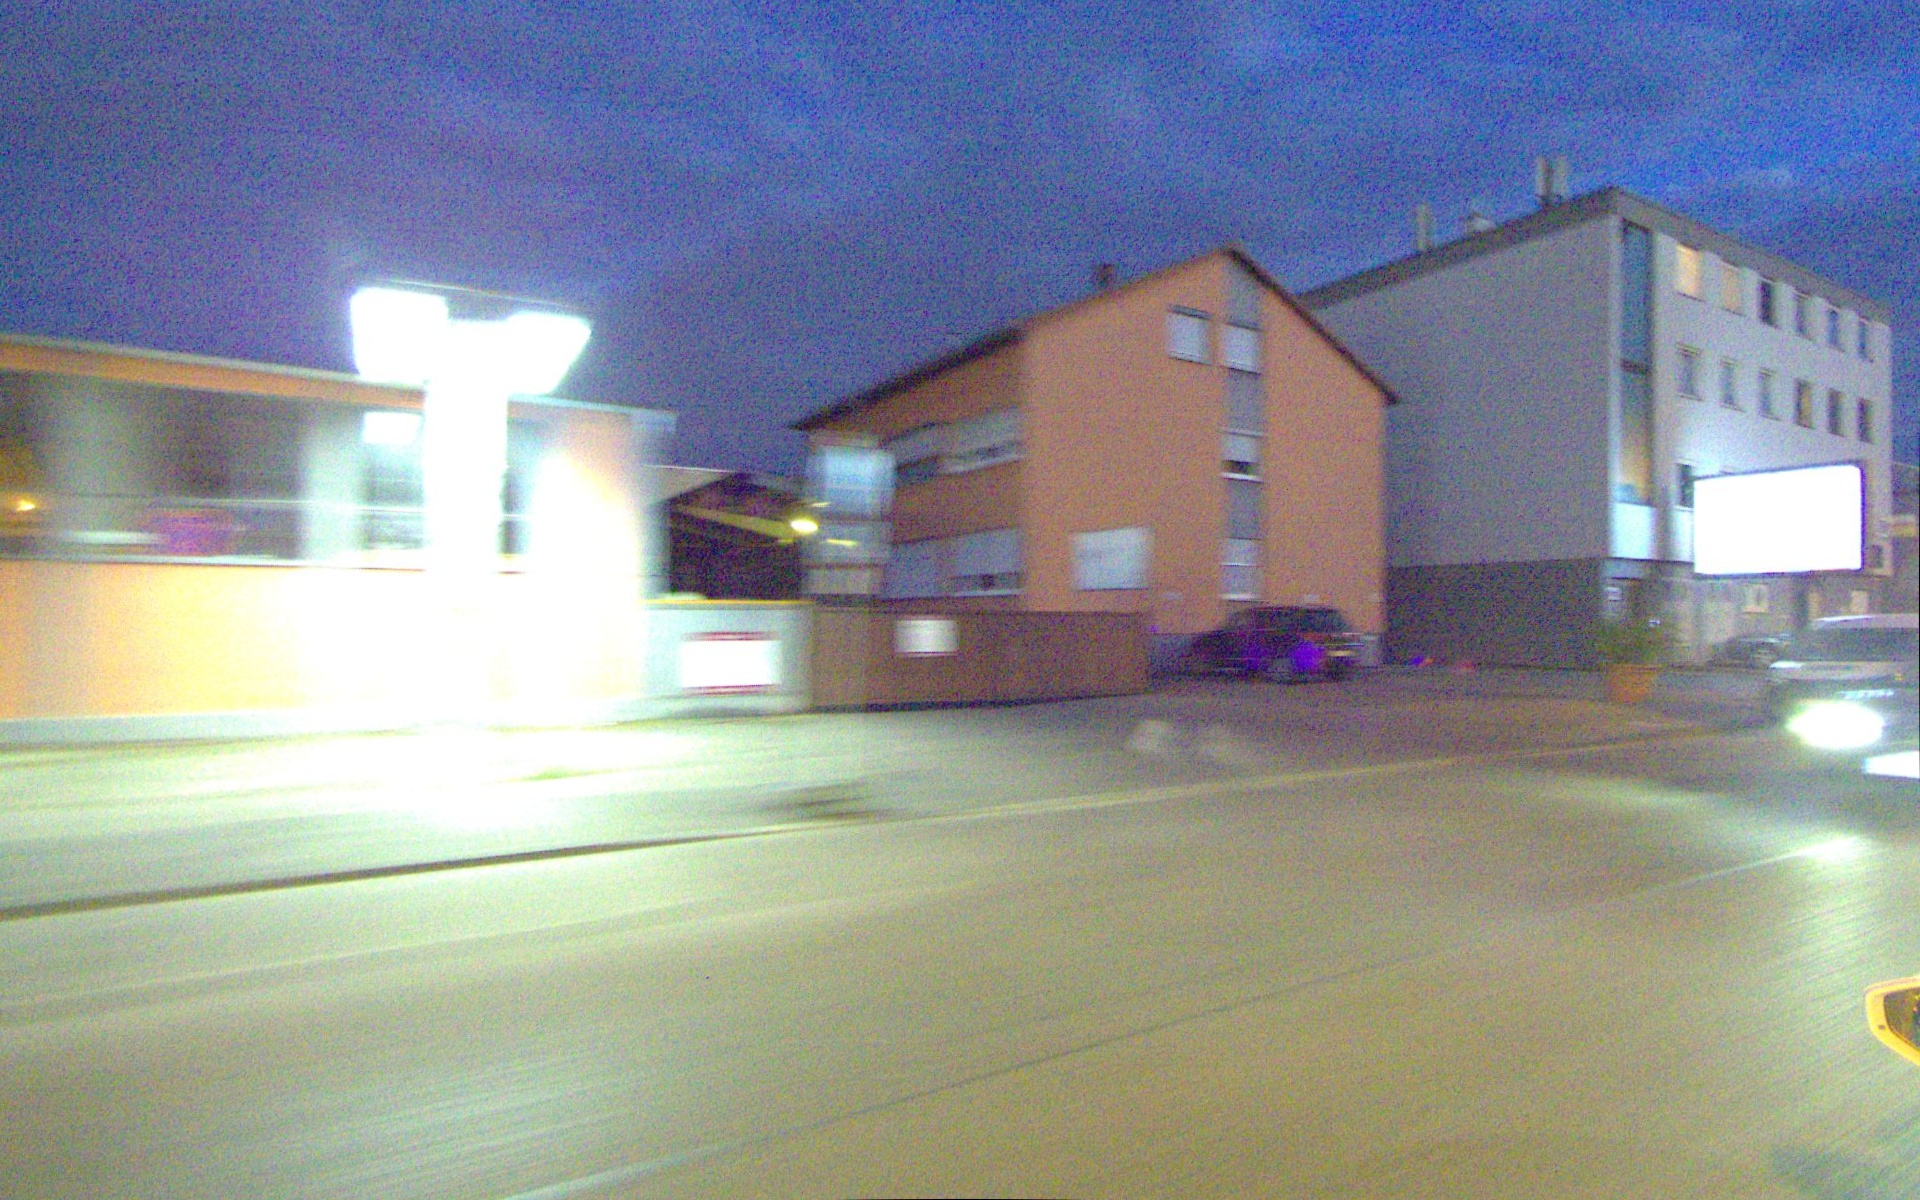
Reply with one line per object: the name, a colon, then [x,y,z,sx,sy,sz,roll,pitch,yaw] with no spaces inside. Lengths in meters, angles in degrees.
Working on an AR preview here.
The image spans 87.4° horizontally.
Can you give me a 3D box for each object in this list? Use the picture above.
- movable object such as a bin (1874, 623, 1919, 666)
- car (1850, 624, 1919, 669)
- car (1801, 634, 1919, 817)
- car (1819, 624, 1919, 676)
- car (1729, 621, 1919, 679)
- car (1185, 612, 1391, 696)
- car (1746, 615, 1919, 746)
movable object such as a bin: [35.237,1.642,37.067,1.590,1.520,1.849,1,-1,-30]
car: [32.534,1.544,33.237,4.337,1.459,1.790,0,-2,31]
car: [9.656,1.050,9.074,4.346,1.456,1.812,1,-1,-30]
car: [30.364,1.584,31.741,4.590,1.571,1.996,0,-2,31]
car: [25.360,1.422,29.469,4.343,1.580,1.993,-1,-2,36]
car: [7.242,1.141,22.669,1.898,1.675,4.384,1,-1,-27]
car: [14.730,1.175,16.031,4.821,1.822,1.796,1,-1,-30]
